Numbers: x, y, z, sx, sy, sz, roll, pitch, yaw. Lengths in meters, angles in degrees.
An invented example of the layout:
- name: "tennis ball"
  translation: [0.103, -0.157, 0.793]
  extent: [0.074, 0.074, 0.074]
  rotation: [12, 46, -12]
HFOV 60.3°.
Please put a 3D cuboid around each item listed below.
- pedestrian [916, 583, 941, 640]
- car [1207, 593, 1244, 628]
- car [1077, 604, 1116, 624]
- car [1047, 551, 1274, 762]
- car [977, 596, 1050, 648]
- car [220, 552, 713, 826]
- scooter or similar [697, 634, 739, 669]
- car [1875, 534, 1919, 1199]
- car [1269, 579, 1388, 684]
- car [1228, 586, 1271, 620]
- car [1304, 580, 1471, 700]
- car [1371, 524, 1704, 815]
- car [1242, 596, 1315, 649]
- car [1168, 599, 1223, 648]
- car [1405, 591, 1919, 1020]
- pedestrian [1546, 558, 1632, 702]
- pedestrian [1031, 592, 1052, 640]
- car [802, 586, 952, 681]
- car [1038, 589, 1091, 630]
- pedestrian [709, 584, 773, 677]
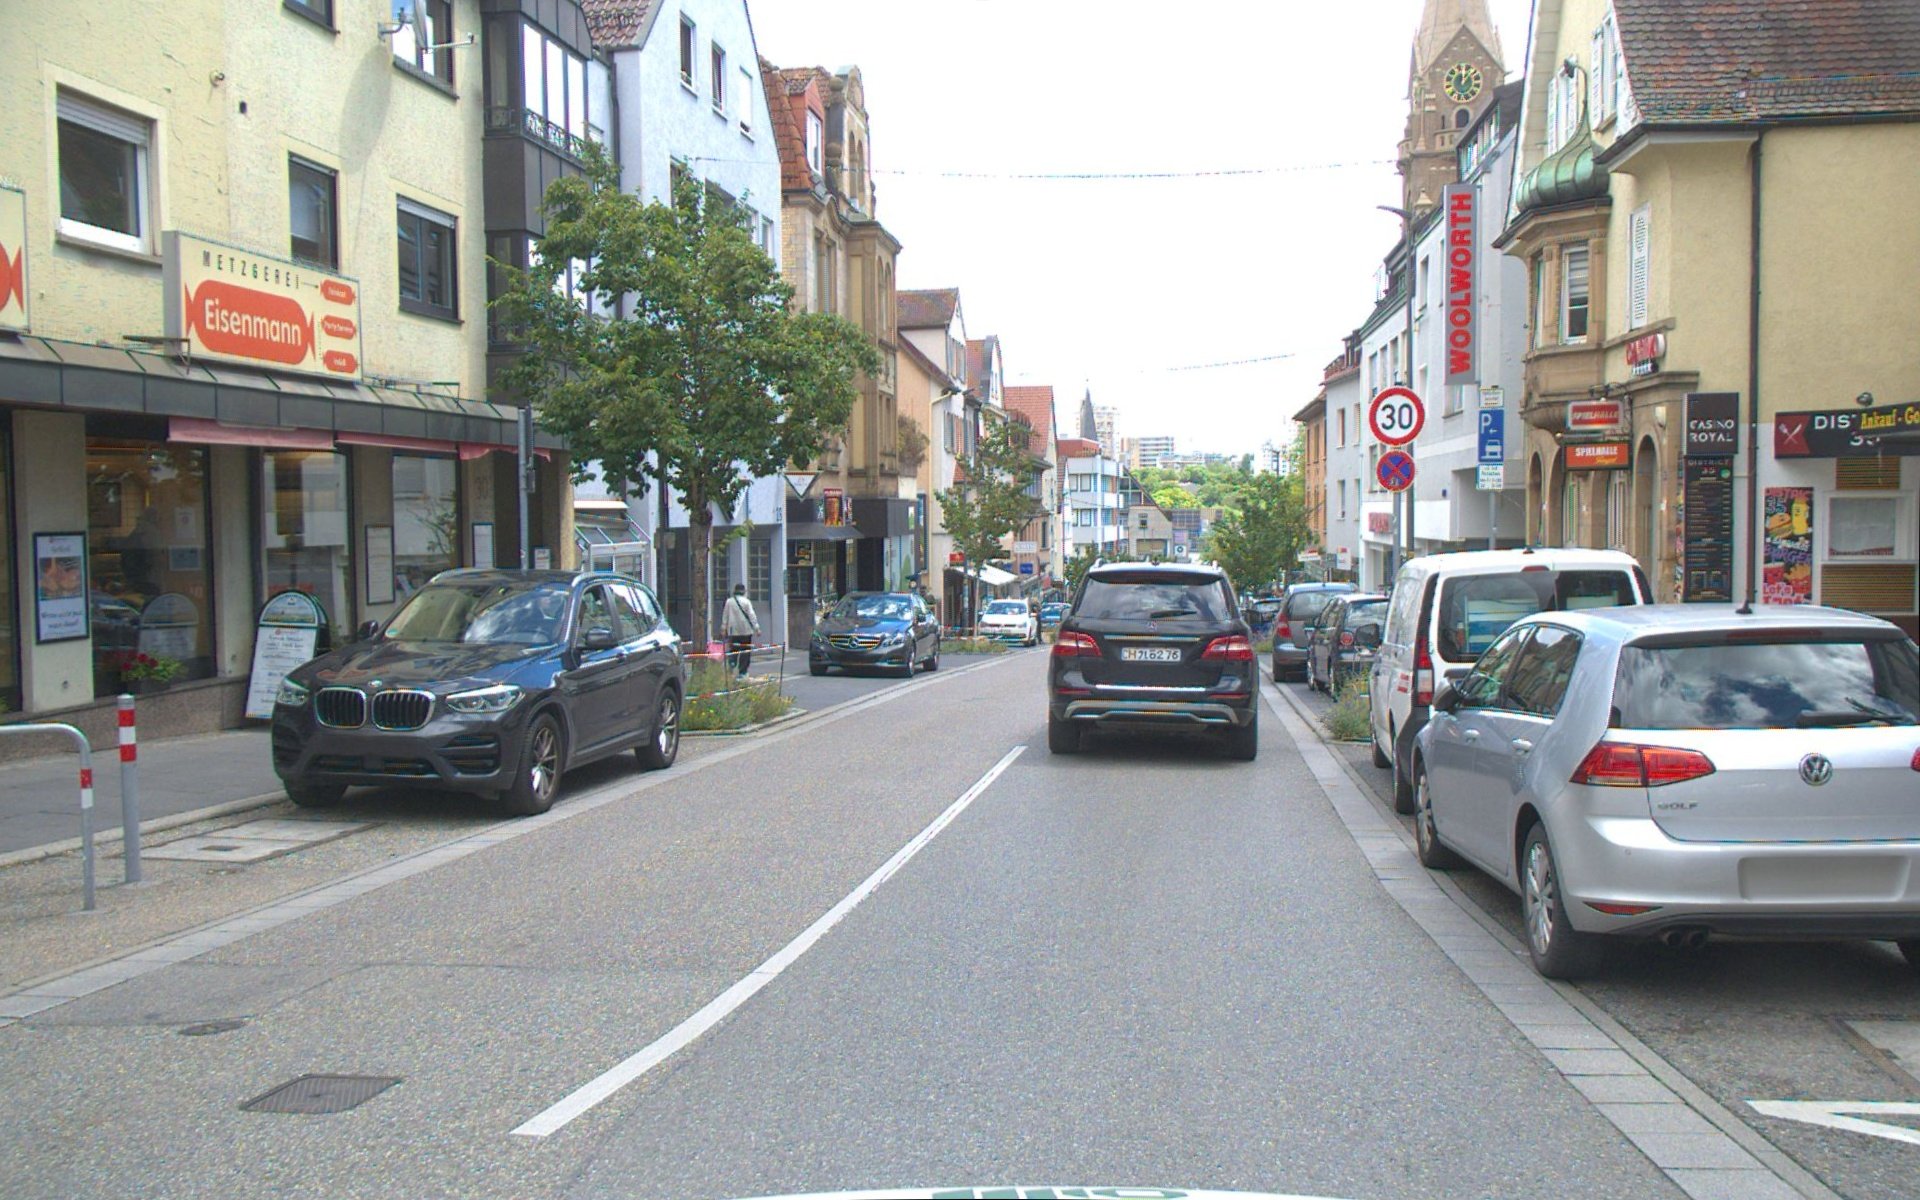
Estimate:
- name: "pedestrian"
  translation: [-0.857, 0.313, 44.639]
  extent: [0.480, 1.489, 0.559]
  rotation: [2, -1, 17]
- name: "car"
  translation: [15.382, 0.609, 95.942]
  extent: [1.897, 1.924, 4.710]
  rotation: [-2, 0, 8]
- name: "car"
  translation: [13.705, 1.420, 166.055]
  extent: [3.903, 1.780, 2.001]
  rotation: [-2, -1, 4]
- name: "car"
  translation: [2.001, 0.492, 16.102]
  extent: [1.902, 1.770, 4.182]
  rotation: [0, 0, 8]
- name: "car"
  translation: [1.759, 0.670, 52.787]
  extent: [1.885, 1.538, 4.265]
  rotation: [2, 0, 7]
- name: "car"
  translation: [-3.579, 0.543, 13.054]
  extent: [1.964, 1.723, 4.611]
  rotation: [1, 1, 8]
- name: "scooter or similar"
  translation: [-3.882, 0.818, 26.529]
  extent: [0.513, 0.528, 0.573]
  rotation: [2, 0, 8]
- name: "car"
  translation: [2.730, 0.636, 1.790]
  extent: [1.765, 1.582, 3.957]
  rotation: [-1, 0, 9]
- name: "car"
  translation: [6.262, 0.510, 28.436]
  extent: [1.711, 1.636, 3.803]
  rotation: [-2, 0, 9]
- name: "car"
  translation: [13.740, 0.151, 78.658]
  extent: [1.711, 1.491, 4.077]
  rotation: [-4, -1, 7]
- name: "car"
  translation: [6.016, 0.534, 23.668]
  extent: [1.711, 1.535, 3.877]
  rotation: [-2, 0, 6]
- name: "car"
  translation: [4.259, 0.433, 12.915]
  extent: [1.836, 1.831, 4.736]
  rotation: [0, 0, 12]
- name: "car"
  translation: [9.920, 0.727, 51.700]
  extent: [1.712, 1.524, 3.801]
  rotation: [-3, -2, 3]
- name: "car"
  translation: [7.938, 0.763, 55.697]
  extent: [1.747, 1.567, 3.747]
  rotation: [0, 0, 8]
- name: "car"
  translation: [3.294, 0.722, 7.789]
  extent: [1.667, 1.493, 4.003]
  rotation: [-1, 0, 6]
- name: "pedestrian"
  translation: [7.903, 0.367, 20.808]
  extent: [0.779, 1.757, 1.054]
  rotation: [-1, -1, 8]
- name: "pedestrian"
  translation: [2.934, 0.585, 59.682]
  extent: [0.721, 1.701, 0.863]
  rotation: [0, -1, 6]
- name: "car"
  translation: [-1.409, 0.566, 30.241]
  extent: [1.886, 1.518, 4.846]
  rotation: [2, 0, 7]
- name: "car"
  translation: [4.450, 0.421, 69.886]
  extent: [1.885, 1.650, 4.642]
  rotation: [1, -1, 7]
- name: "pedestrian"
  translation: [-3.604, 0.497, 27.231]
  extent: [0.808, 1.489, 0.810]
  rotation: [2, 0, 8]
